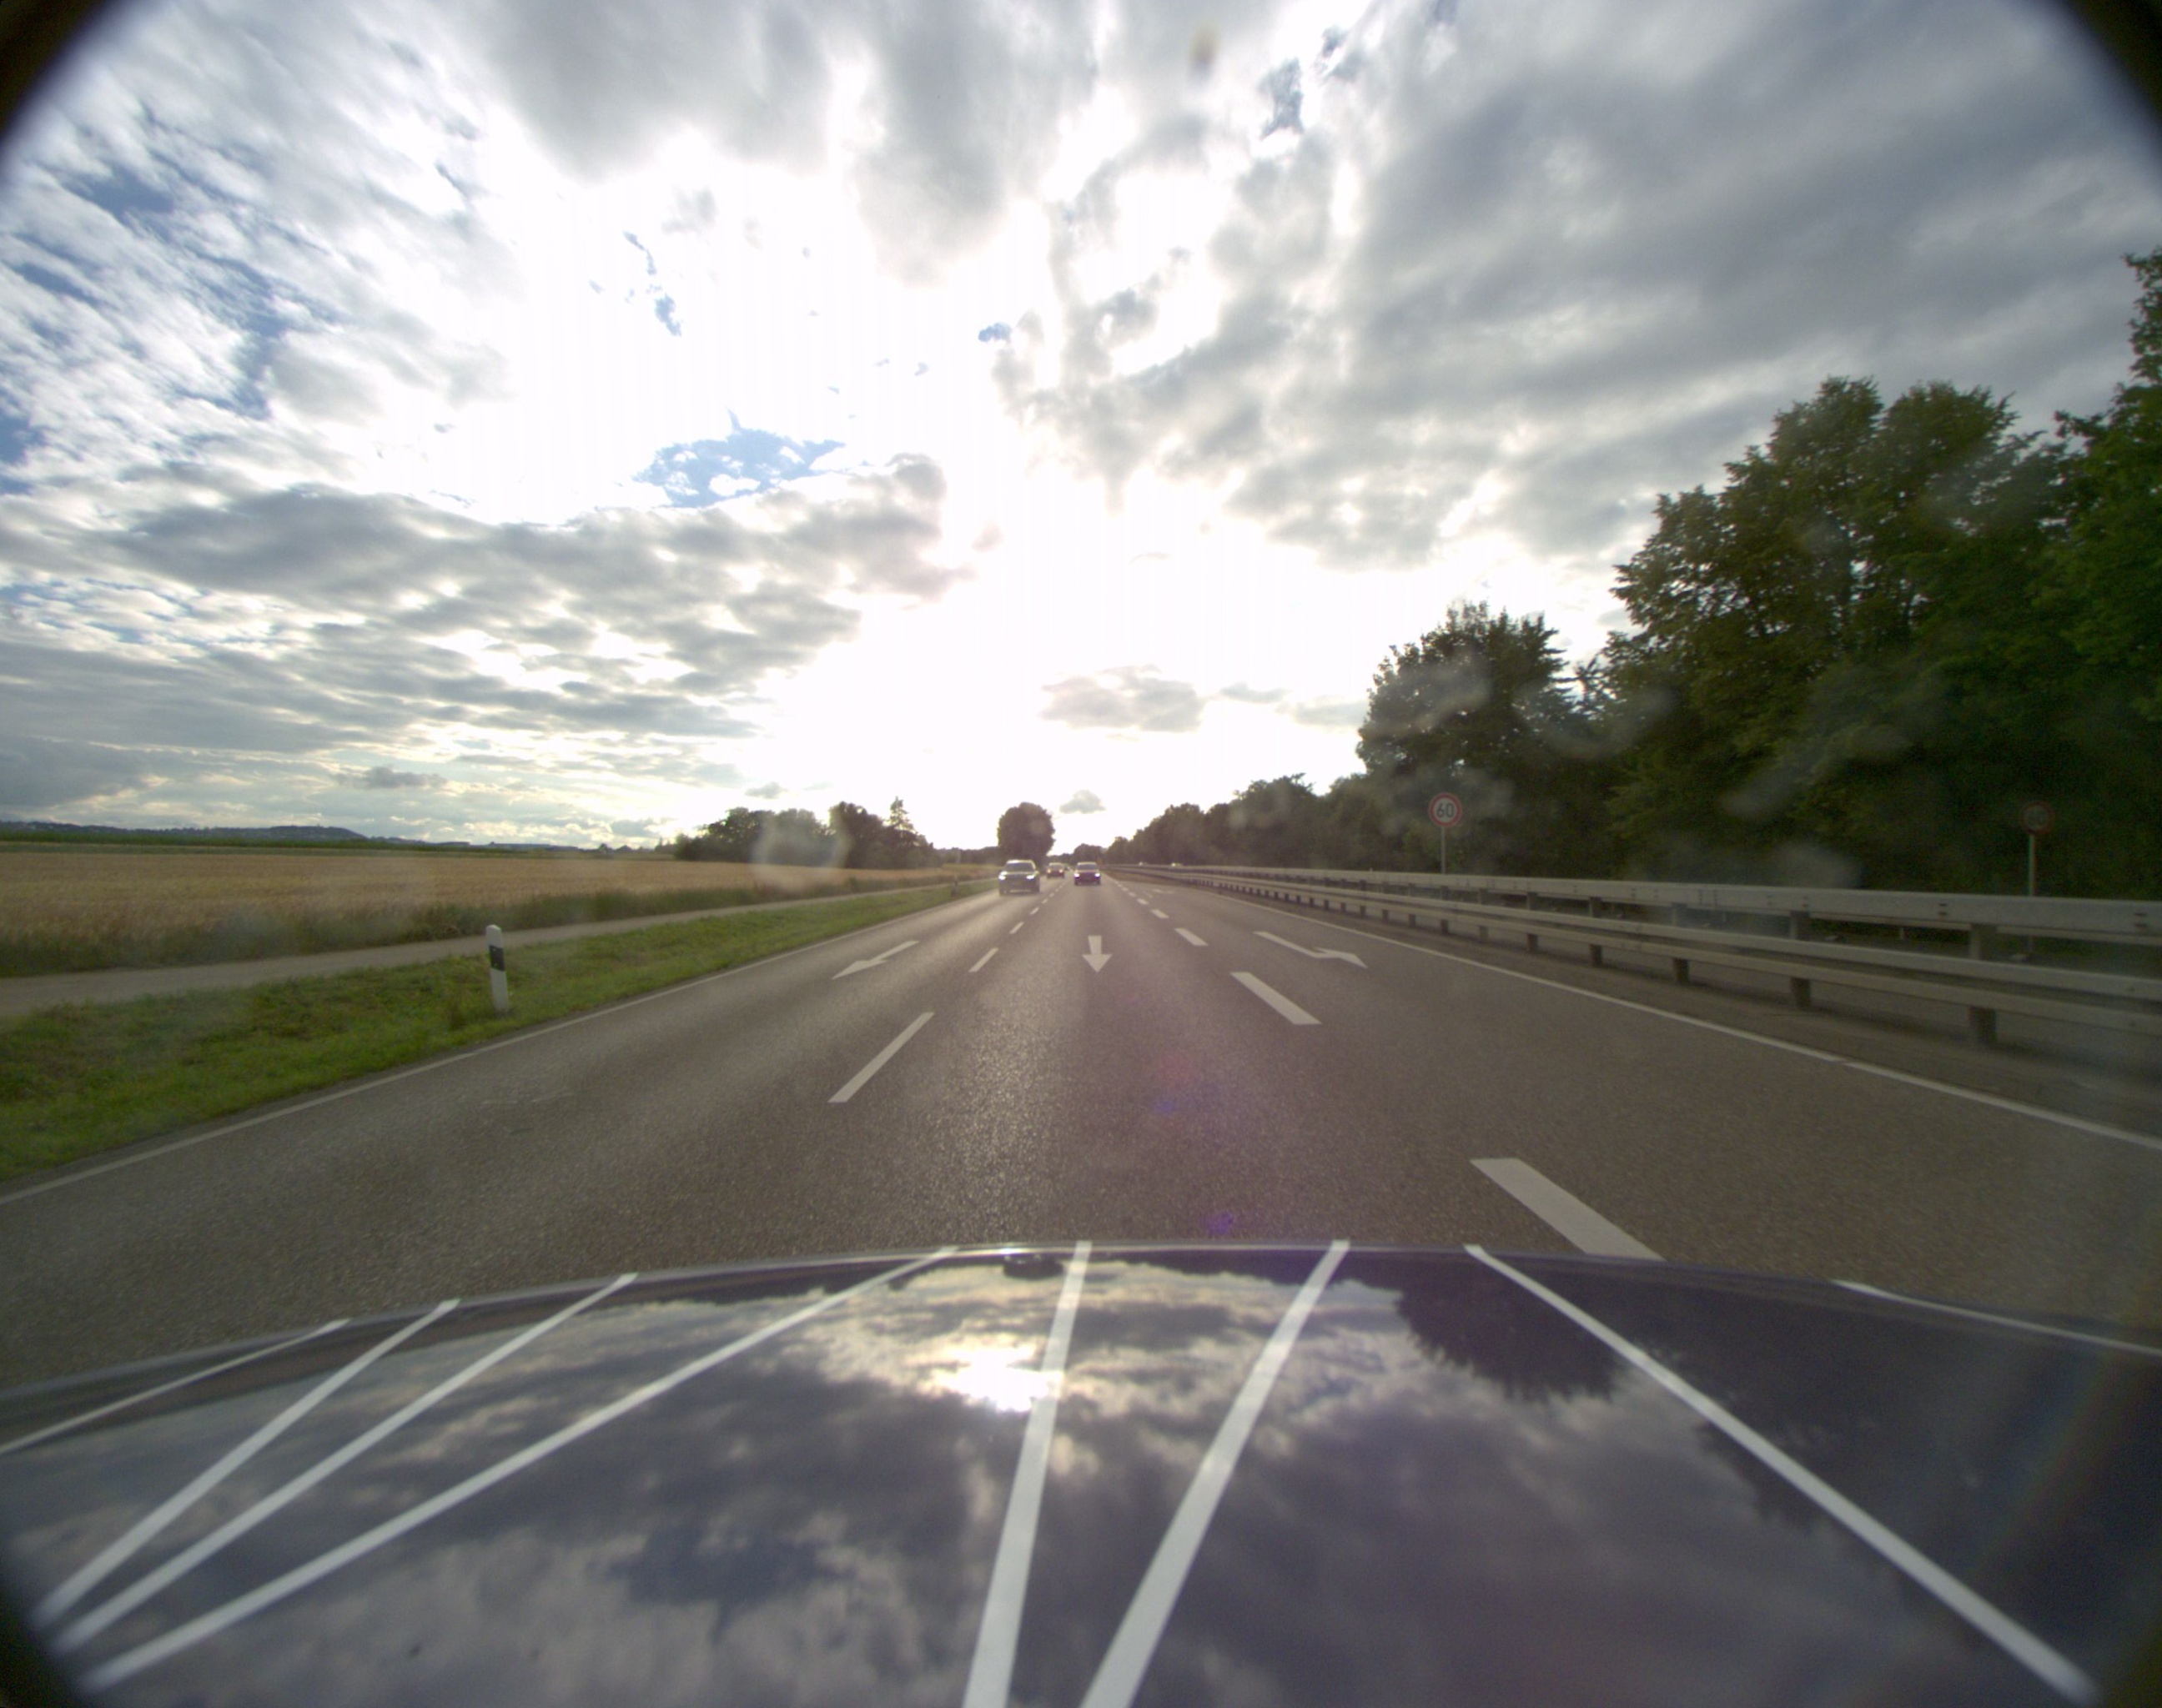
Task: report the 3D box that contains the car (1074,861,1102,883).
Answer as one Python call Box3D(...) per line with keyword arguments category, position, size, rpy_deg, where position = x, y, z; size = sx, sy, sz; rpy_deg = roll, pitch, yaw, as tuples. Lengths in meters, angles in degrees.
Box3D(category="car", position=(0.500, 1.159, 50.941), size=(1.775, 1.388, 4.000), rpy_deg=(-1, 0, 1))

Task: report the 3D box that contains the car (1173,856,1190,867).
Box3D(category="car", position=(14.042, 1.041, 106.175), size=(1.763, 1.404, 4.459), rpy_deg=(0, -1, 0))

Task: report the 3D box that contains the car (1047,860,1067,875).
Box3D(category="car", position=(-2.327, 1.328, 75.161), size=(1.823, 1.409, 4.000), rpy_deg=(-1, 0, 0))

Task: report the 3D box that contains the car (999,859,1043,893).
Box3D(category="car", position=(-3.052, 1.090, 39.103), size=(1.863, 1.636, 4.000), rpy_deg=(-1, 0, 1))

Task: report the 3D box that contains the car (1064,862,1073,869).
Box3D(category="car", position=(-2.585, 2.312, 158.013), size=(1.823, 1.368, 3.999), rpy_deg=(-1, 0, -1))

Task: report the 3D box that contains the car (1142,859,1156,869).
Box3D(category="car", position=(10.396, 1.540, 116.975), size=(1.773, 1.459, 3.712), rpy_deg=(0, -1, 0))
